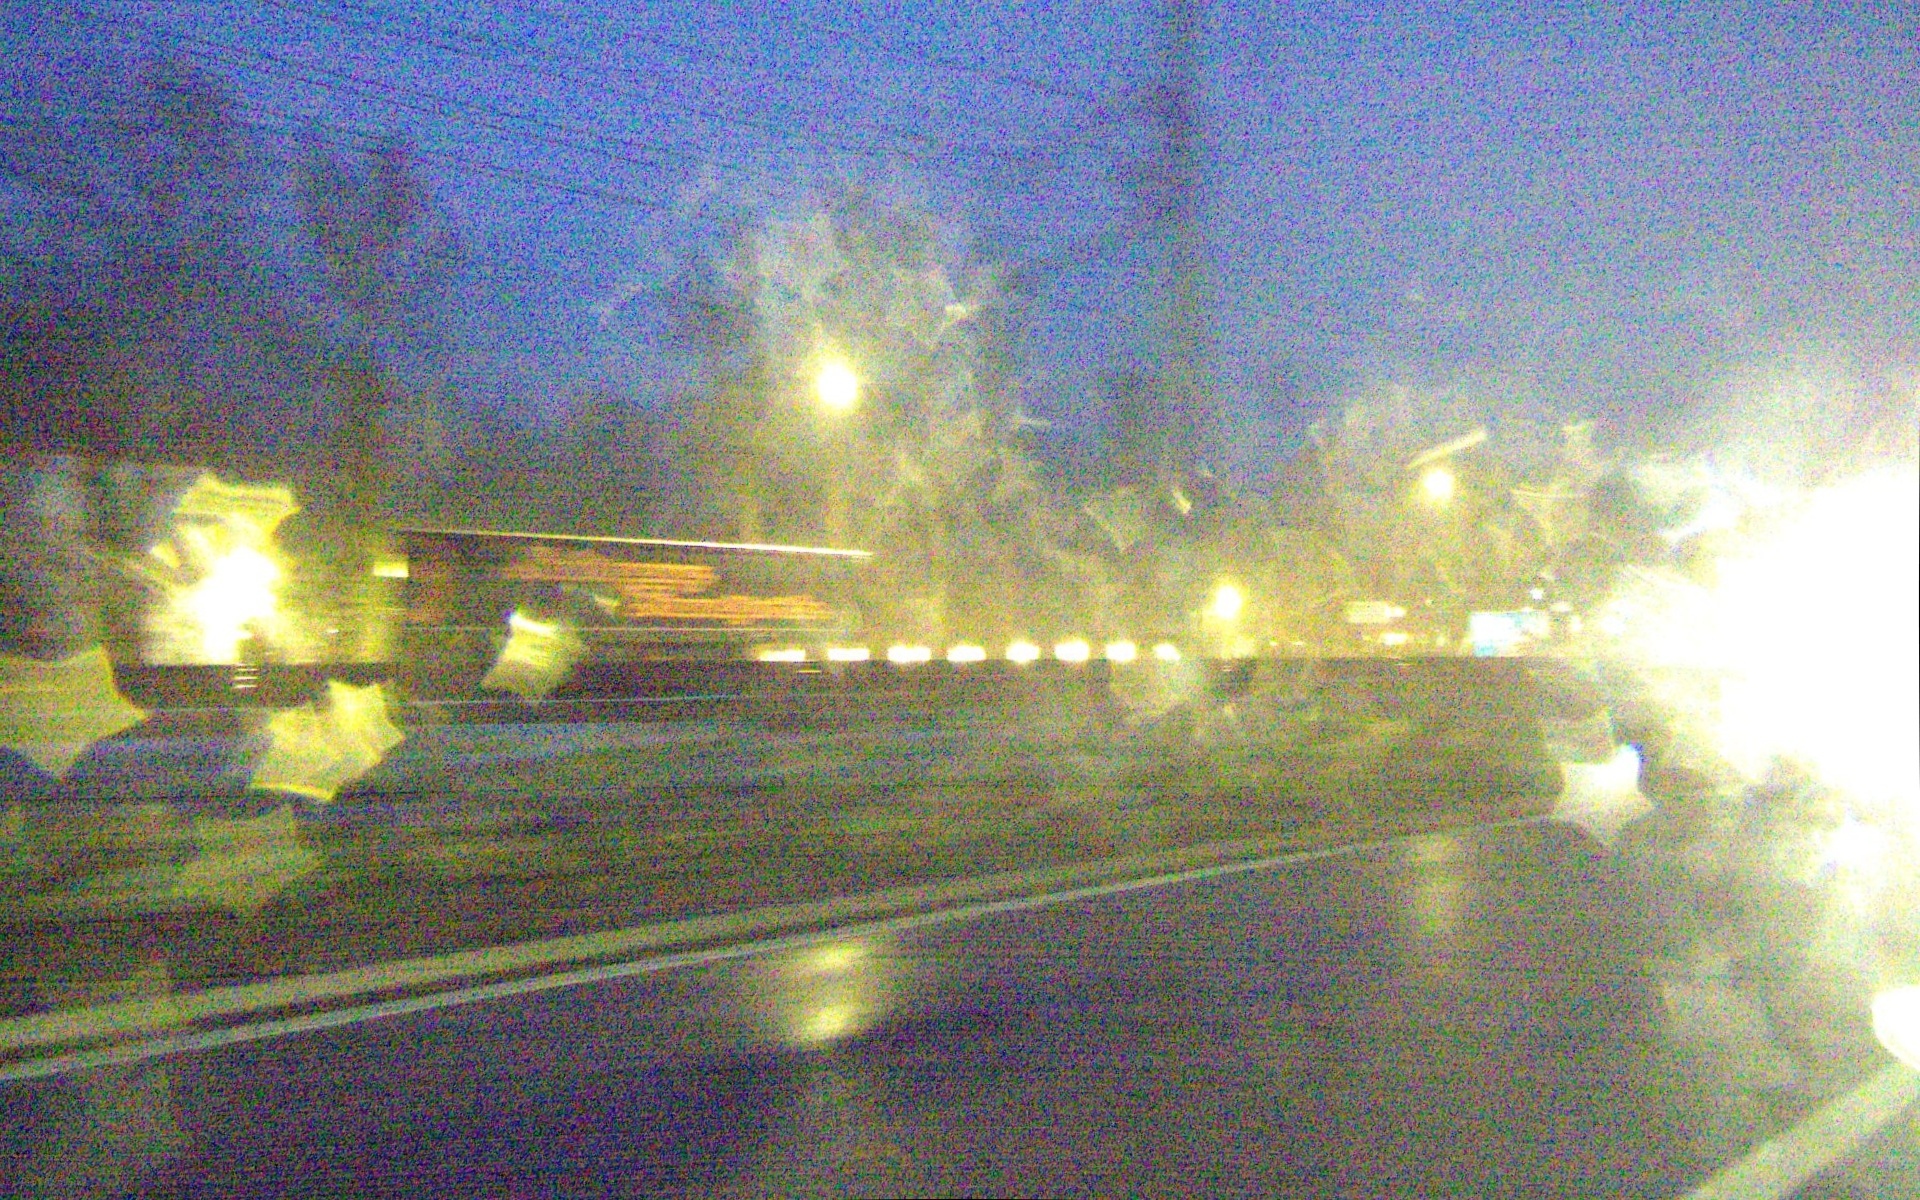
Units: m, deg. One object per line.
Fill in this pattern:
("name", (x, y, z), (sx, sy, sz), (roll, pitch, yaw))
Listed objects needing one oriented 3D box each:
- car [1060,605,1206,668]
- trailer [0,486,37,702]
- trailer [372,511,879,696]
("car", (5.138, 1.045, 29.657), (4.174, 1.716, 1.775), (1, 0, -34))
("trailer", (-27.517, -0.408, 18.132), (15.347, 4.671, 3.948), (2, 1, -33))
("trailer", (-9.715, 0.269, 30.740), (14.093, 4.671, 3.948), (2, 1, -33))
